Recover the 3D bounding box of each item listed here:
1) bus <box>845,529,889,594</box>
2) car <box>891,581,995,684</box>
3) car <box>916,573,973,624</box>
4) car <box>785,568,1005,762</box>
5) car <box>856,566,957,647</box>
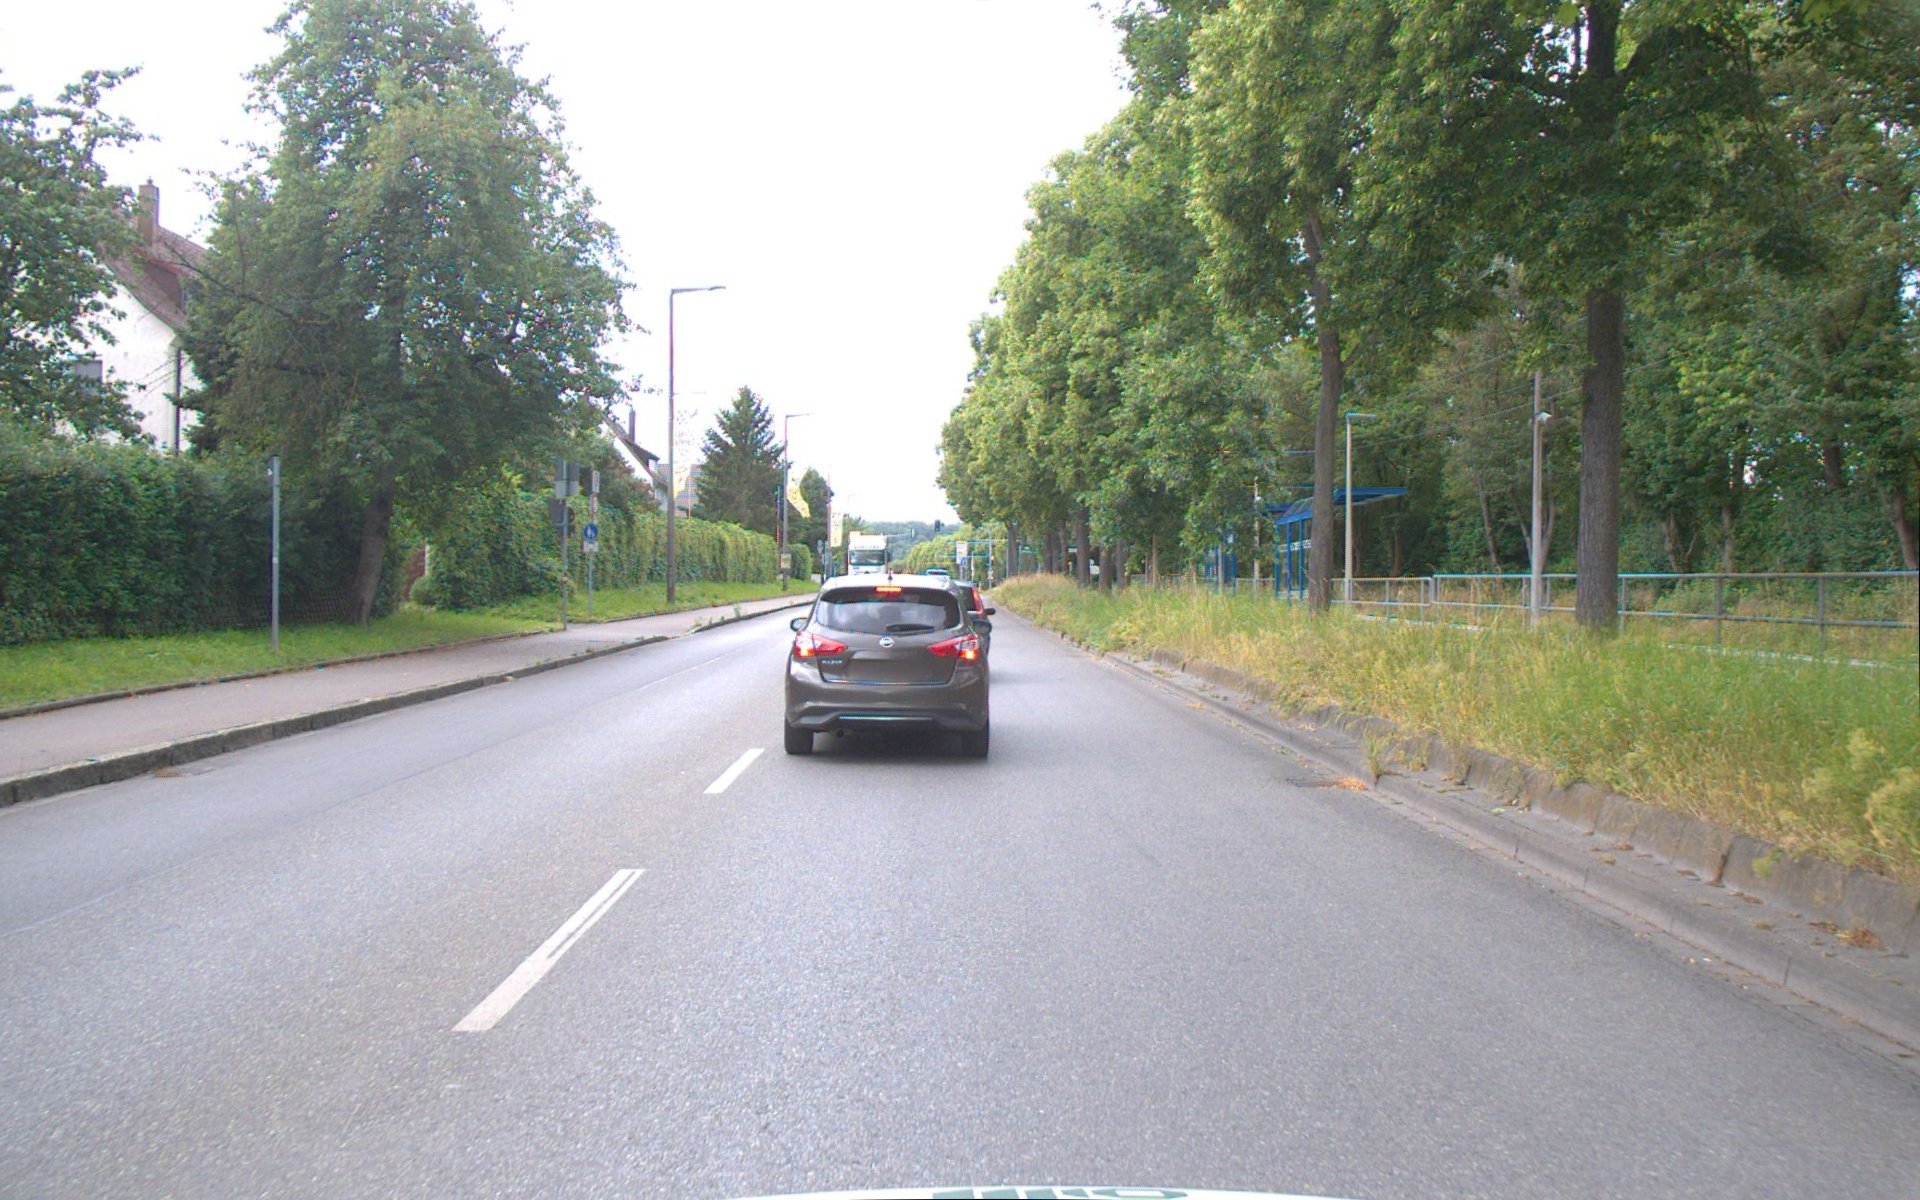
[{"bbox_3d":[-6.086,-2.505,109.464,2.437,4.096,10.215,1,1,-1],"label":"bus"},{"bbox_3d":[-0.282,0.453,25.668,1.471,1.466,3.541,1,1,-1],"label":"car"},{"bbox_3d":[-0.499,-0.052,50.476,1.657,1.466,3.541,1,1,-1],"label":"car"},{"bbox_3d":[-0.546,0.516,15.130,1.747,1.533,3.695,1,0,-1],"label":"car"},{"bbox_3d":[-1.095,0.136,34.955,1.953,1.512,3.999,3,0,-1],"label":"car"}]
